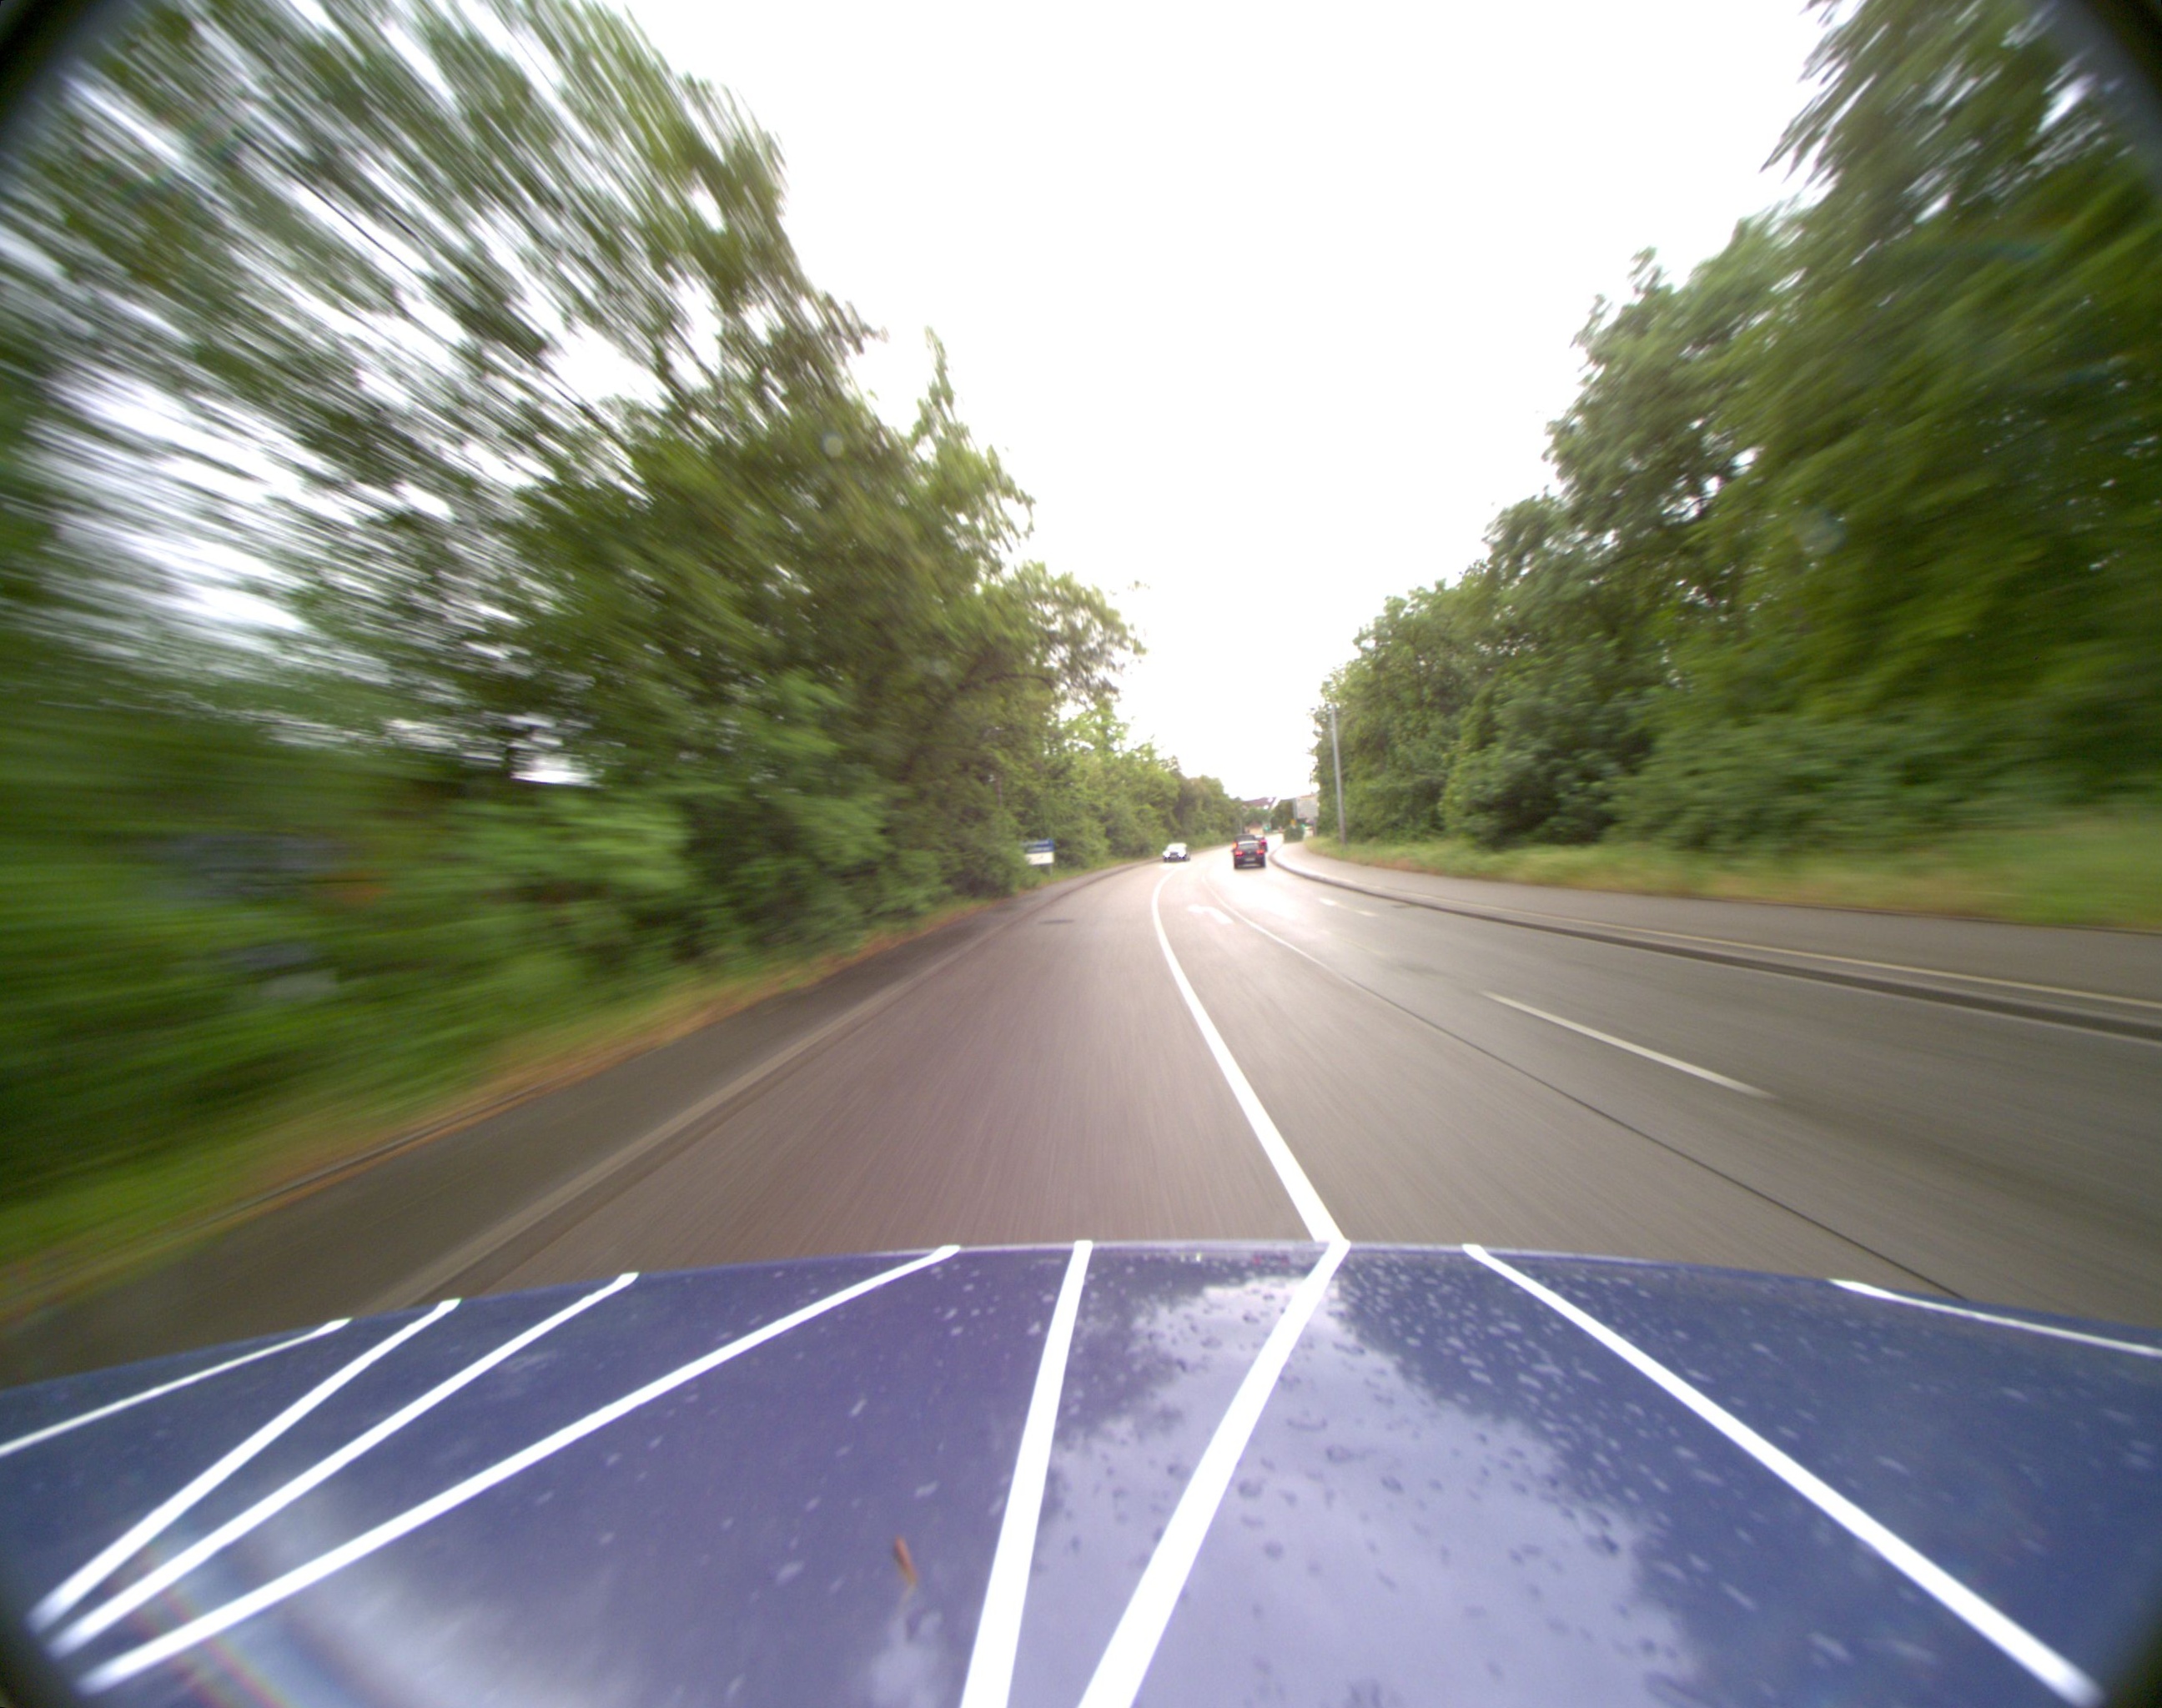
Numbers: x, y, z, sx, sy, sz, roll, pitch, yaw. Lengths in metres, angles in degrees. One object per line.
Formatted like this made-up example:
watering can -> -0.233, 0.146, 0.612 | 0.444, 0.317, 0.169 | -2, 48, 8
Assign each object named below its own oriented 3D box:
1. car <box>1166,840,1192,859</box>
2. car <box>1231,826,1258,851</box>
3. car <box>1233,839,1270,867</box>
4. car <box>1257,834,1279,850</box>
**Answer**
car -> 7.834, -0.343, 60.499 | 1.830, 1.511, 4.003 | 1, 0, 10
car -> 12.580, -1.143, 58.563 | 1.830, 1.832, 4.715 | 1, 0, 10
car -> 9.700, -0.040, 43.443 | 1.830, 1.431, 4.003 | -5, -1, 10
car -> 18.467, -1.182, 75.302 | 1.830, 1.511, 4.003 | 1, 0, 10
